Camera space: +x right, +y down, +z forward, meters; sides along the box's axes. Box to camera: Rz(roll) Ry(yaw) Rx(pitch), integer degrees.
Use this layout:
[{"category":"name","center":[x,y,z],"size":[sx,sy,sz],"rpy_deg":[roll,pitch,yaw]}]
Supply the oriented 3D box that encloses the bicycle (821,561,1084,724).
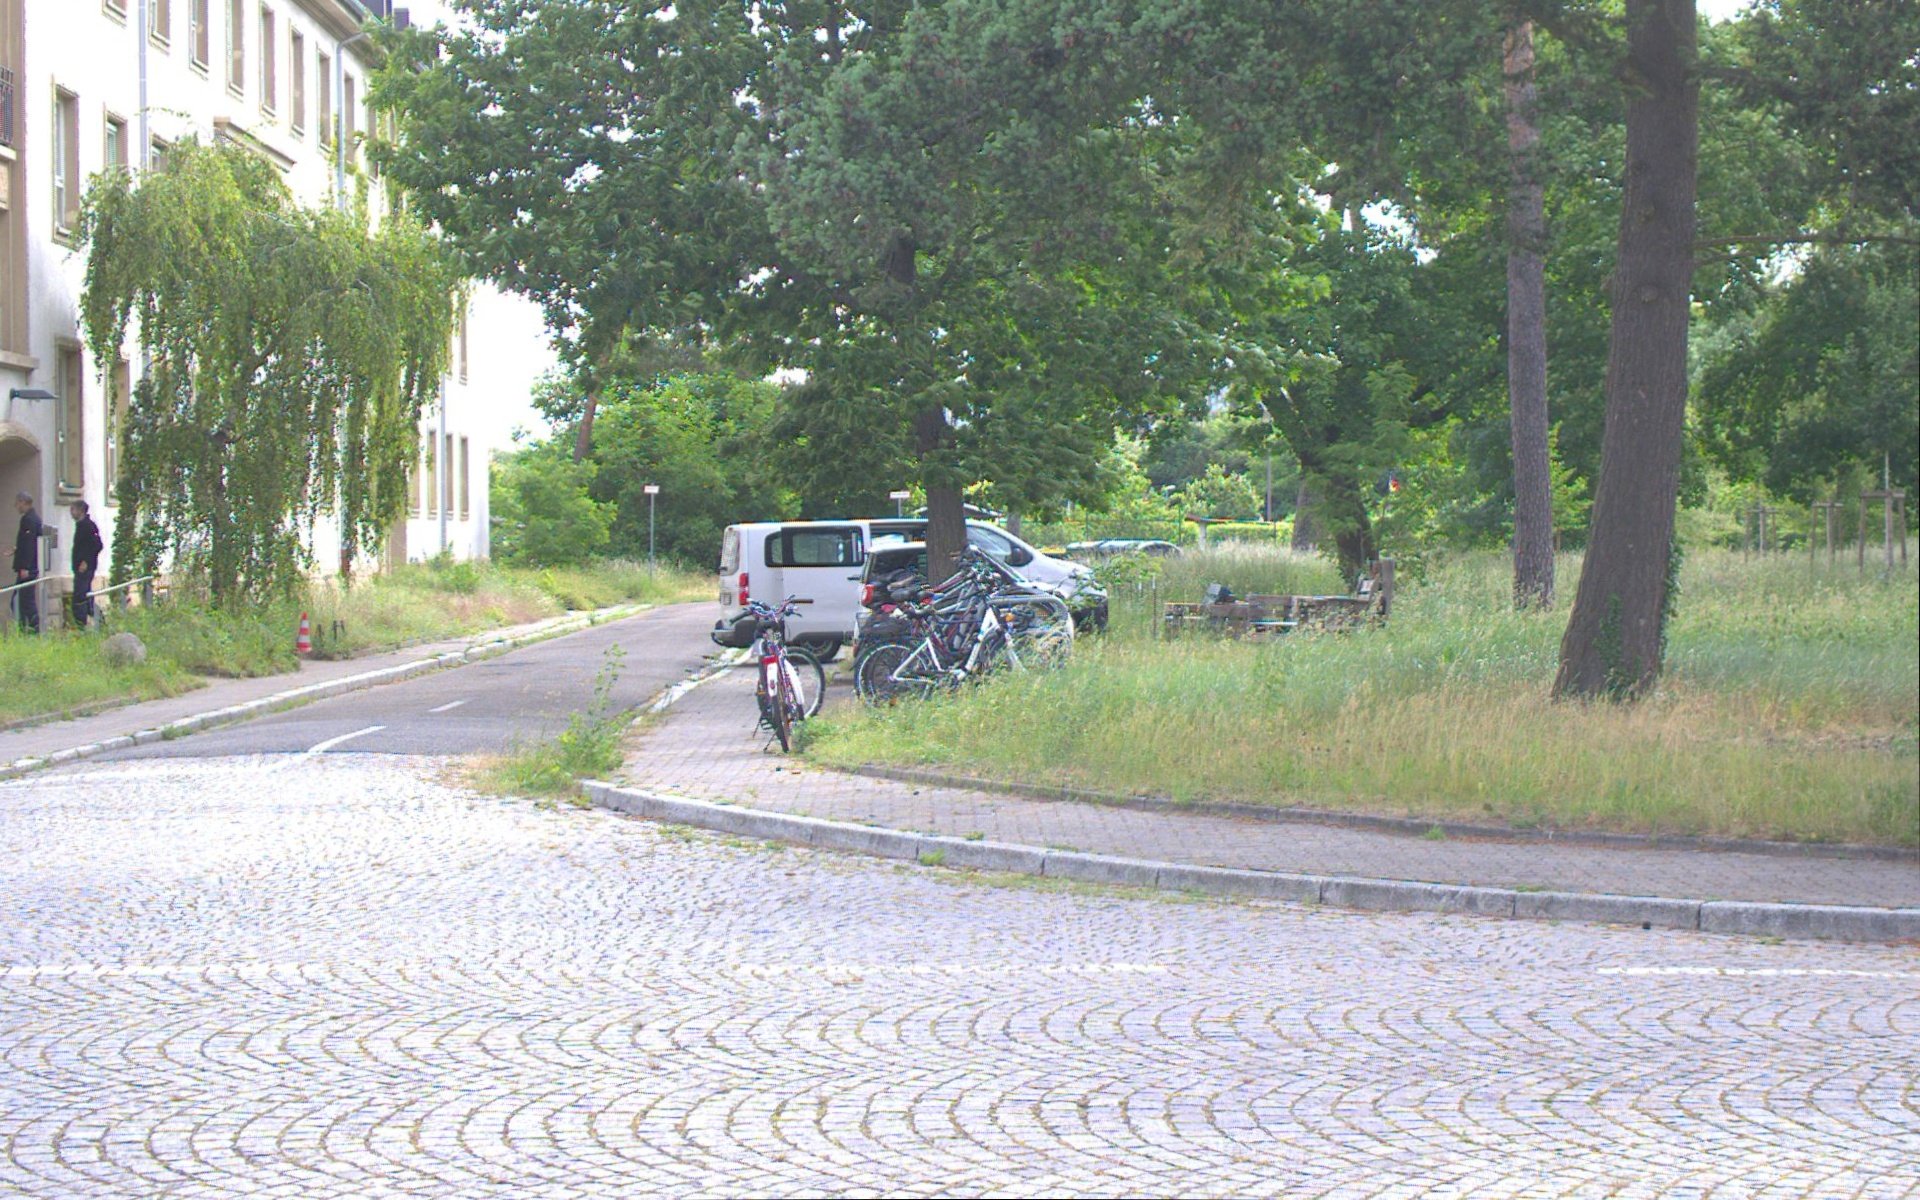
[{"category":"bicycle","center":[-0.069,0.337,28.201],"size":[2.113,1.302,0.874],"rpy_deg":[0,1,-1]}]

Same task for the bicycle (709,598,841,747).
[{"category":"bicycle","center":[-1.316,0.502,24.812],"size":[0.900,0.993,1.979],"rpy_deg":[0,1,-2]}]

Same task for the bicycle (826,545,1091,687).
[{"category":"bicycle","center":[-0.026,0.147,33.843],"size":[2.567,1.367,0.951],"rpy_deg":[0,1,-2]}]

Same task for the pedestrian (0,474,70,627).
[{"category":"pedestrian","center":[-11.754,-0.618,42.775],"size":[1.194,1.863,1.550],"rpy_deg":[1,0,-11]}]

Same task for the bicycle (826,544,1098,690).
[{"category":"bicycle","center":[0.003,0.155,33.003],"size":[2.567,1.367,0.951],"rpy_deg":[0,1,-2]}]

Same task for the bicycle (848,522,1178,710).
[{"category":"bicycle","center":[0.439,0.127,29.684],"size":[2.802,1.578,0.951],"rpy_deg":[0,1,-1]}]

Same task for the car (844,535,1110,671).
[{"category":"car","center":[0.179,0.025,42.888],"size":[3.224,1.615,1.938],"rpy_deg":[1,0,-2]}]

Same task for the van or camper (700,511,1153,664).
[{"category":"van or camper","center":[-0.476,-0.194,46.311],"size":[5.740,1.950,2.238],"rpy_deg":[-1,1,-13]}]

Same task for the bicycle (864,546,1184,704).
[{"category":"bicycle","center":[0.551,0.214,30.617],"size":[2.802,1.367,0.951],"rpy_deg":[0,1,-1]}]

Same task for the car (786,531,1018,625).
[{"category":"car","center":[-1.046,-0.394,60.134],"size":[3.986,1.594,1.704],"rpy_deg":[0,1,-3]}]

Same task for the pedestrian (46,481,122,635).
[{"category":"pedestrian","center":[-11.226,-0.536,44.071],"size":[0.865,1.925,0.837],"rpy_deg":[1,0,-12]}]

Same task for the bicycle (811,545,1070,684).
[{"category":"bicycle","center":[-0.206,0.136,34.679],"size":[2.567,1.367,0.951],"rpy_deg":[0,1,-2]}]

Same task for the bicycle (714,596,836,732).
[{"category":"bicycle","center":[-1.430,0.481,26.903],"size":[0.727,0.993,1.978],"rpy_deg":[0,1,4]}]

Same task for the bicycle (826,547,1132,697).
[{"category":"bicycle","center":[0.168,0.195,32.042],"size":[2.802,1.367,0.951],"rpy_deg":[0,1,-1]}]

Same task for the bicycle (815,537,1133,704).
[{"category":"bicycle","center":[0.109,0.159,28.812],"size":[2.619,1.362,0.874],"rpy_deg":[0,1,-1]}]

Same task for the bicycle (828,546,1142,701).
[{"category":"bicycle","center":[0.214,0.204,31.148],"size":[2.802,1.367,0.951],"rpy_deg":[0,1,-1]}]
